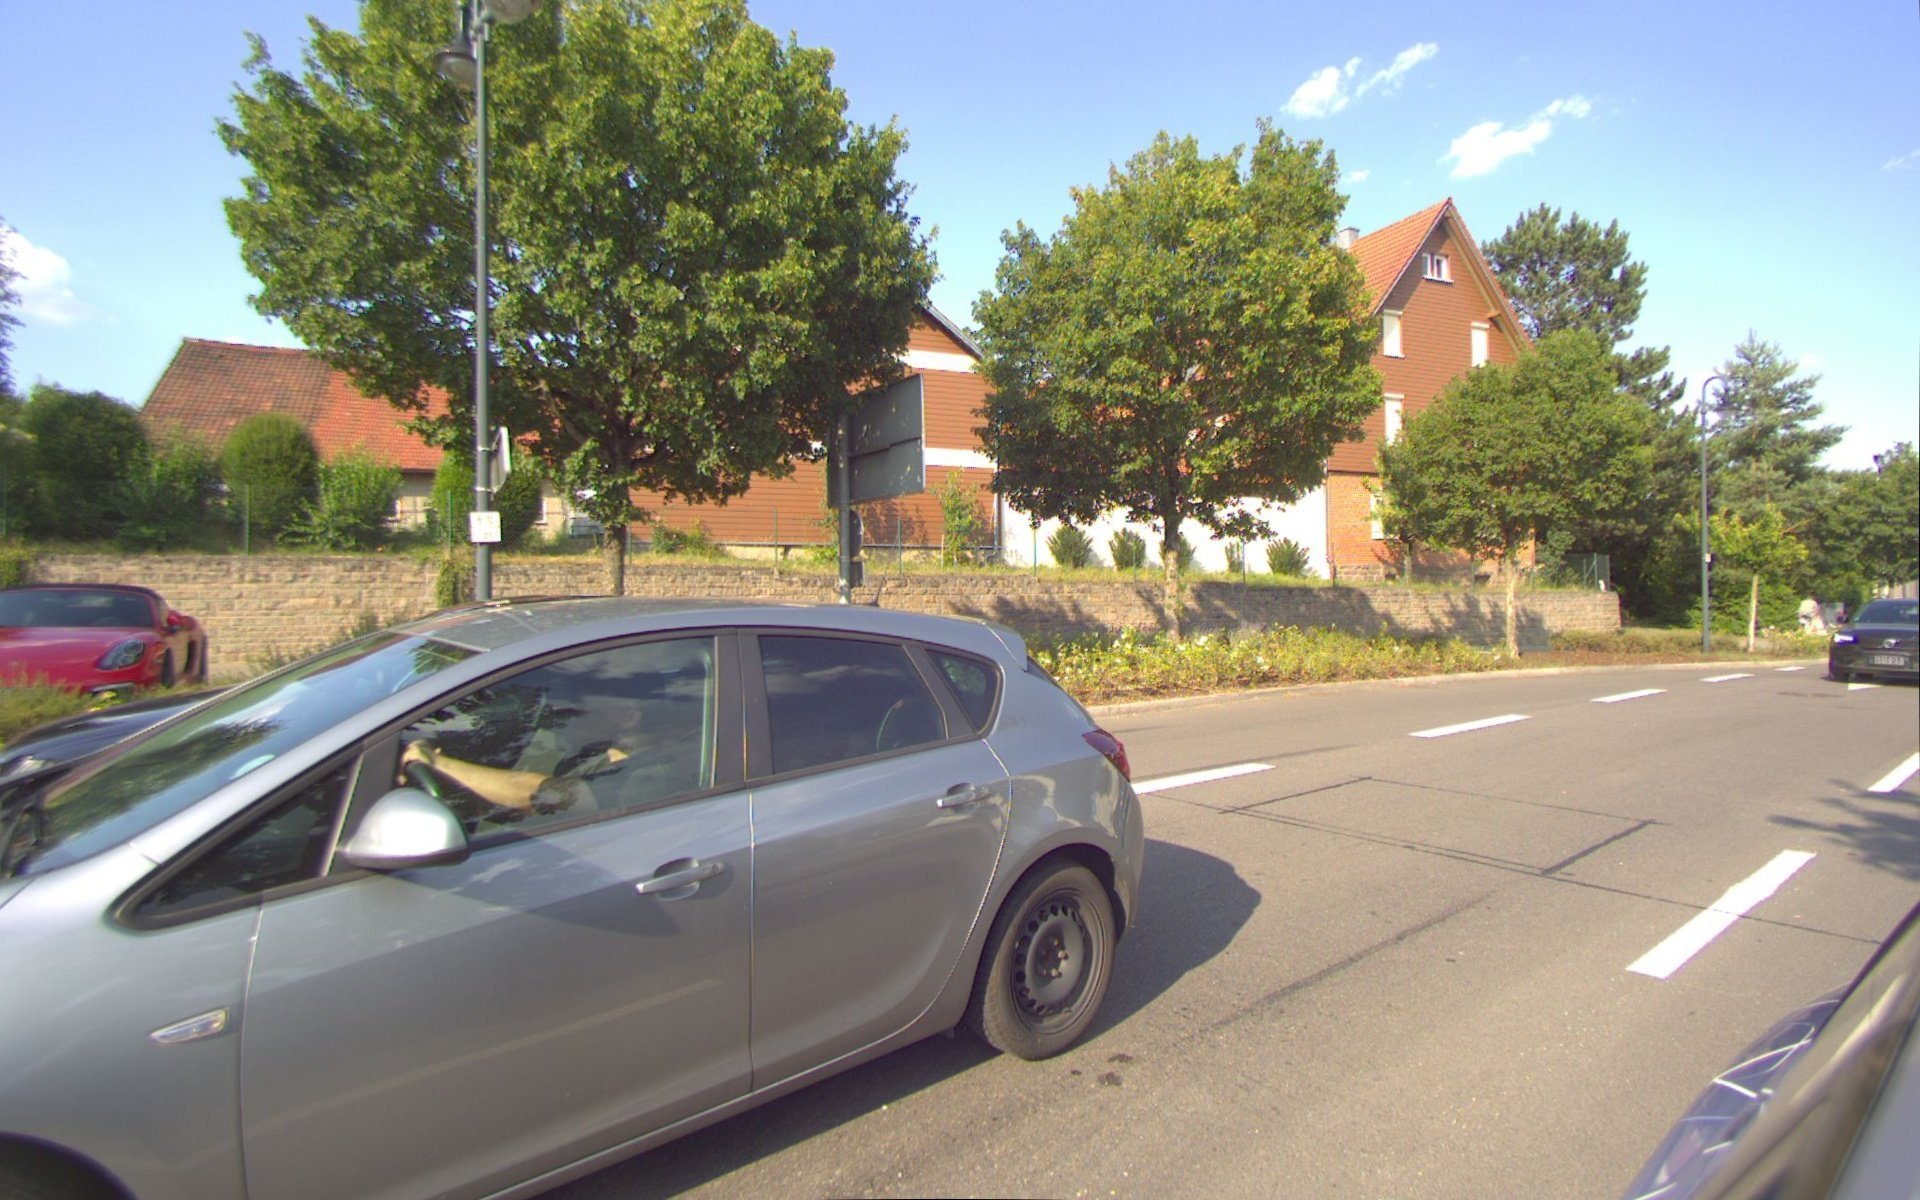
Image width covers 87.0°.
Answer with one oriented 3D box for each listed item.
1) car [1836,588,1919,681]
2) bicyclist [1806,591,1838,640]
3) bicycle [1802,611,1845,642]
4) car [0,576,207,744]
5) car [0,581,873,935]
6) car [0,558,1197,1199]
[{"bbox_3d":[18.215,0.590,19.151,4.054,1.629,1.885,0,0,-40],"label":"car"},{"bbox_3d":[30.146,0.530,35.386,0.719,1.699,0.605,0,0,-28],"label":"bicyclist"},{"bbox_3d":[30.194,0.913,35.385,1.838,1.031,0.523,0,0,-28],"label":"bicycle"},{"bbox_3d":[-8.372,0.453,9.455,1.817,1.288,4.002,0,0,-32],"label":"car"},{"bbox_3d":[-2.857,0.633,6.134,4.507,1.453,1.685,0,0,-39],"label":"car"},{"bbox_3d":[-1.247,0.656,2.934,4.095,1.460,1.746,0,0,-42],"label":"car"}]
